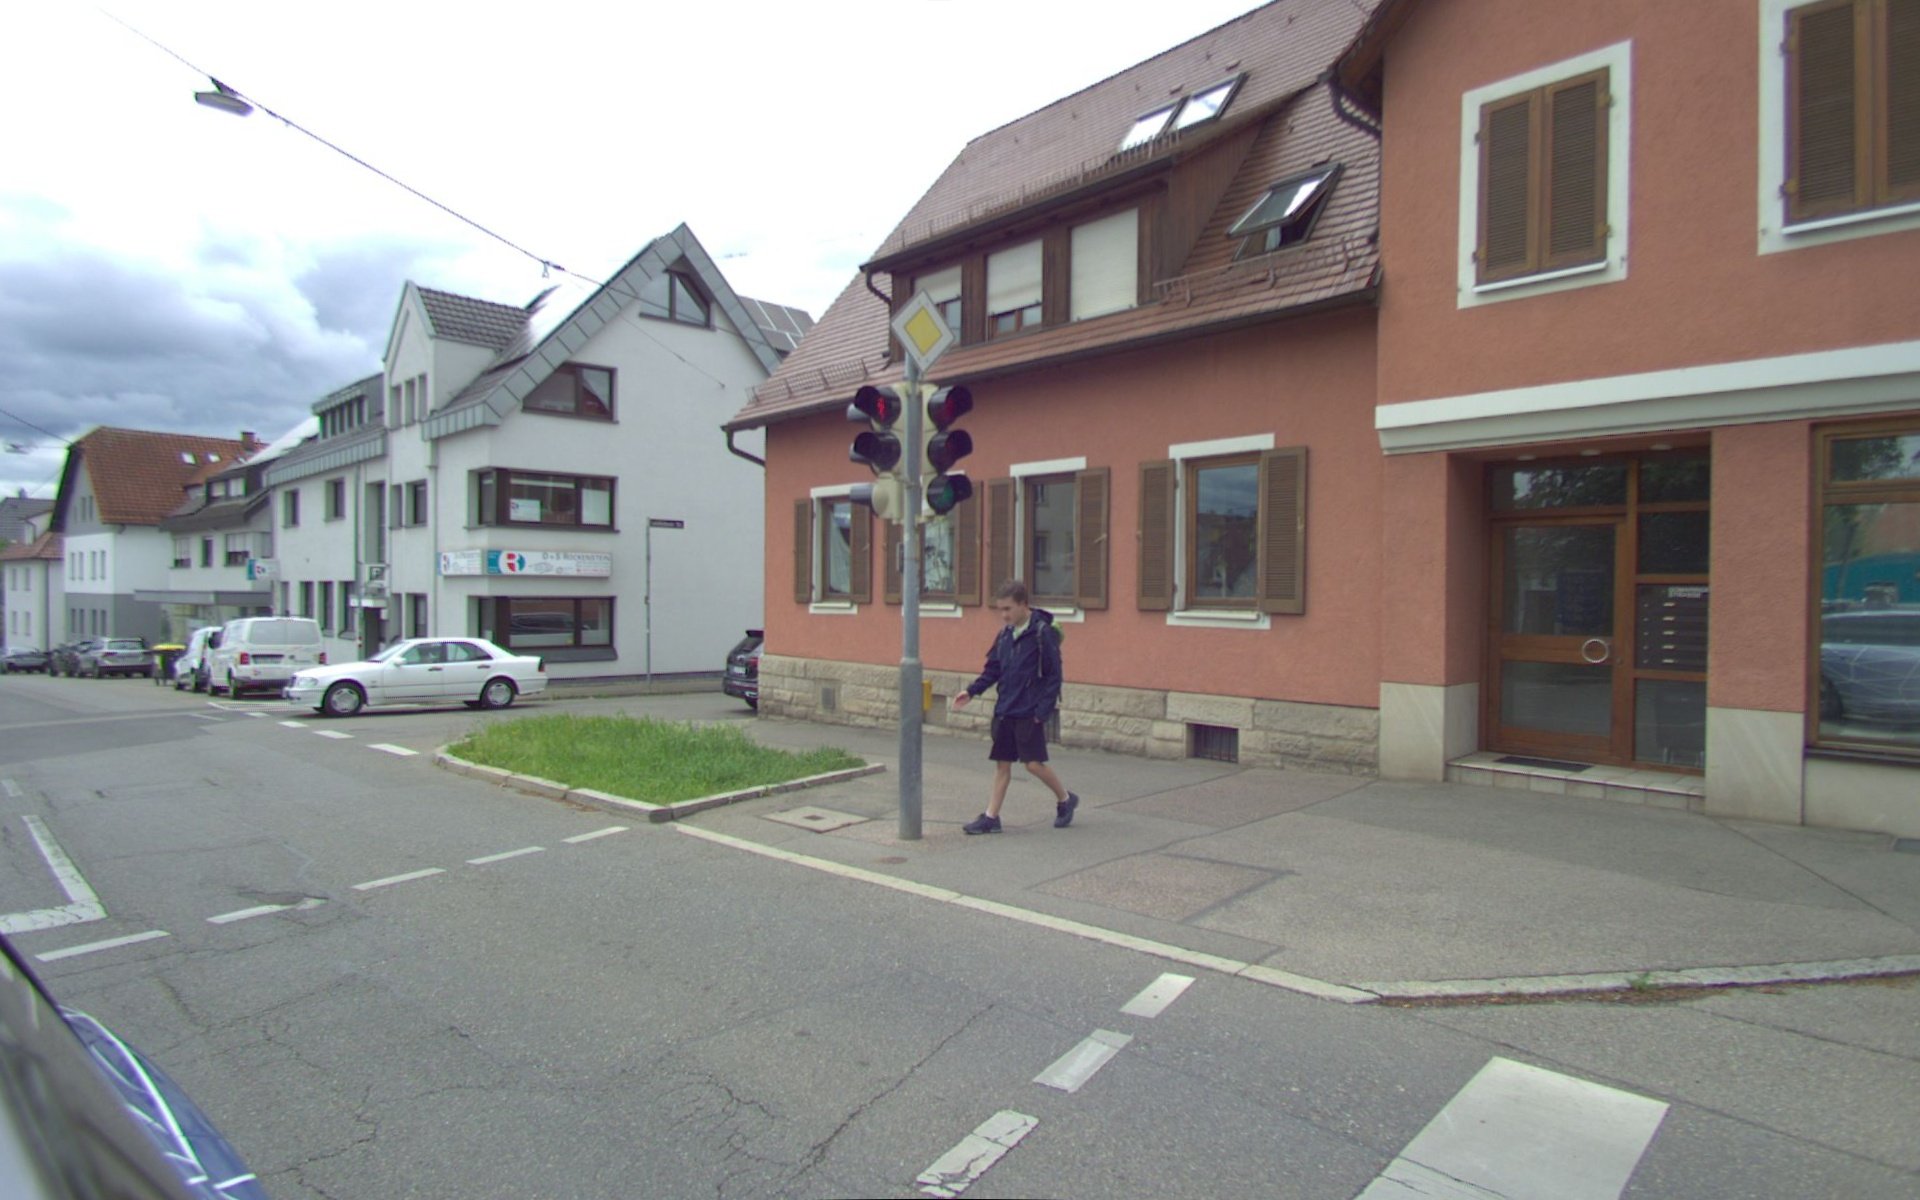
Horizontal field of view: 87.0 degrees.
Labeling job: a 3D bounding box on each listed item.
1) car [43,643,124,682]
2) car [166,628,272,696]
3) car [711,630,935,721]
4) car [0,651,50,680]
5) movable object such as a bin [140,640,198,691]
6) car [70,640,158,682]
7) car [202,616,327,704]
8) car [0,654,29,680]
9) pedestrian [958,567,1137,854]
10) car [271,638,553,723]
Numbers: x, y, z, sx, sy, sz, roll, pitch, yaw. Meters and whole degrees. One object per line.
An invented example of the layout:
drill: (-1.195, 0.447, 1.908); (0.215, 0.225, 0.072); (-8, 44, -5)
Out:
car: (-38.959, 2.756, 44.950); (4.401, 1.645, 1.820); (-3, -3, 37)
car: (-21.704, 1.800, 29.588); (4.297, 1.846, 1.714); (-3, -4, 43)
car: (-2.637, 1.435, 19.912); (3.993, 1.602, 1.807); (3, -3, -39)
car: (-49.841, 3.459, 53.444); (4.460, 1.456, 1.820); (-3, -4, 37)
movable object such as a bin: (-26.333, 2.158, 33.695); (1.560, 1.645, 1.129); (-3, -3, 37)
car: (-34.764, 2.499, 41.554); (4.401, 1.645, 1.820); (-3, -3, 37)
car: (-17.706, 1.506, 25.664); (1.791, 2.021, 4.766); (3, -4, -44)
car: (-54.796, 3.809, 57.581); (3.990, 1.456, 1.822); (-3, -3, 34)
pedestrian: (0.604, 0.699, 6.964); (0.803, 1.798, 0.880); (-3, -1, 44)
car: (-10.579, 1.487, 19.746); (4.497, 1.456, 2.003); (2, -3, -41)
